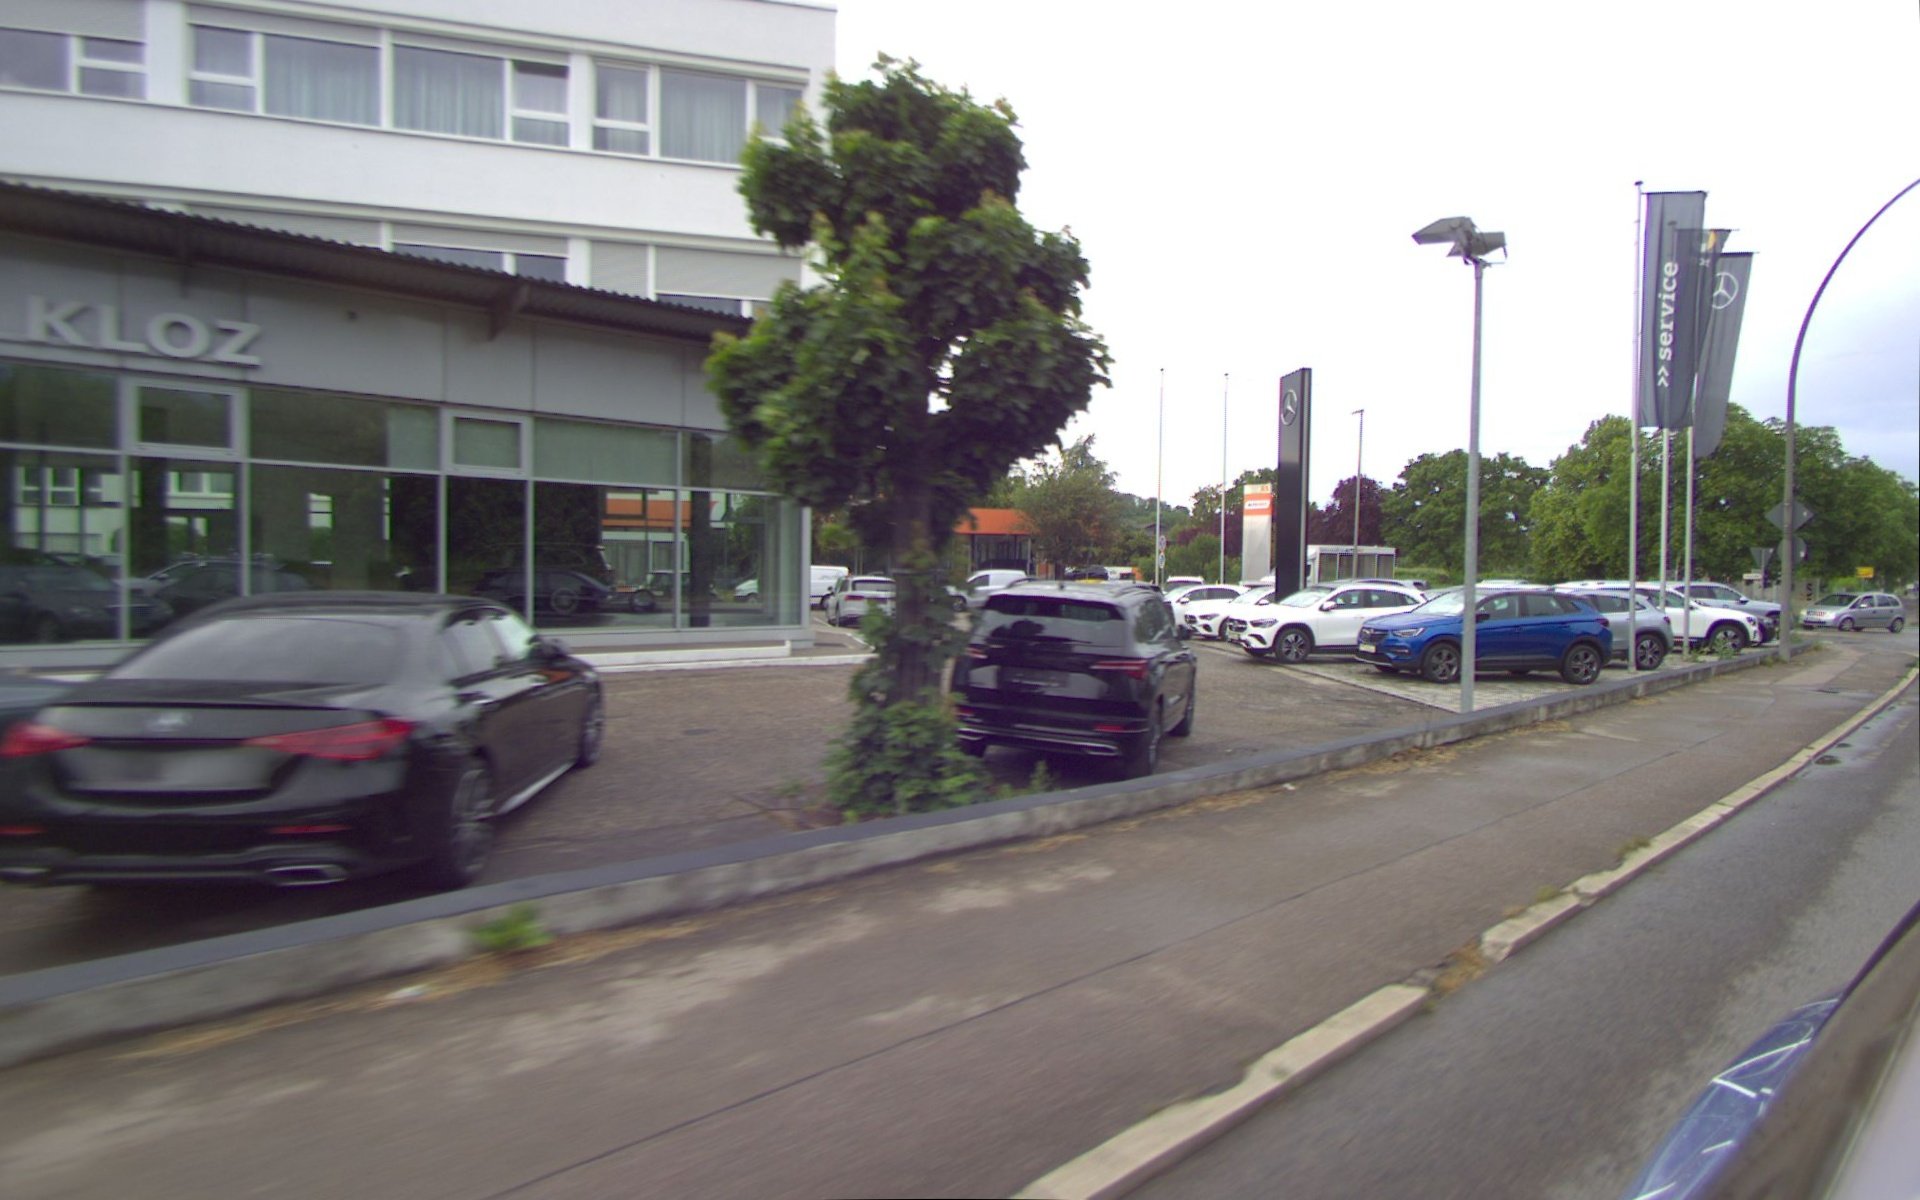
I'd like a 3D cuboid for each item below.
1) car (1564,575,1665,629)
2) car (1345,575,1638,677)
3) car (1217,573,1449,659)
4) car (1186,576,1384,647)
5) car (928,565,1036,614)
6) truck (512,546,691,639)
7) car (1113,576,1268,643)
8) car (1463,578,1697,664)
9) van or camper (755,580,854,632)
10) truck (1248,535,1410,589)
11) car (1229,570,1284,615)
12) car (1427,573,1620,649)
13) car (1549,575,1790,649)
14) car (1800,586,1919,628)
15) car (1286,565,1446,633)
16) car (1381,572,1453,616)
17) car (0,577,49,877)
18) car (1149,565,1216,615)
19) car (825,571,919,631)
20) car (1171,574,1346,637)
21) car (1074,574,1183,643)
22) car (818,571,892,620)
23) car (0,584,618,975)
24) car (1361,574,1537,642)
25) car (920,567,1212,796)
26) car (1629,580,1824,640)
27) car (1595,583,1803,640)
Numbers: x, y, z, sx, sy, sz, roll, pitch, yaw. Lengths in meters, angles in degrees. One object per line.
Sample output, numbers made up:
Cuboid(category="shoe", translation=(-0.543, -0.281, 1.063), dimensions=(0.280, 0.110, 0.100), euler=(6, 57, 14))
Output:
Cuboid(category="car", translation=(21.968, 0.031, 33.894), dimensions=(4.630, 1.694, 1.810), euler=(-1, 1, -43))
Cuboid(category="car", translation=(9.402, 0.434, 18.110), dimensions=(4.278, 1.652, 1.847), euler=(1, 3, -6))
Cuboid(category="car", translation=(7.582, 0.302, 20.712), dimensions=(4.092, 1.619, 1.736), euler=(0, 2, -11))
Cuboid(category="car", translation=(7.486, 0.241, 23.545), dimensions=(3.918, 1.564, 1.906), euler=(0, 1, -8))
Cuboid(category="car", translation=(0.944, -0.459, 44.686), dimensions=(4.357, 2.039, 1.836), euler=(-2, 0, -18))
Cuboid(category="truck", translation=(-14.310, -0.311, 40.867), dimensions=(6.511, 3.457, 2.576), euler=(-2, -1, -13))
Cuboid(category="car", translation=(6.597, 0.260, 29.187), dimensions=(3.906, 1.662, 1.774), euler=(-3, 0, -7))
Cuboid(category="car", translation=(12.611, 0.409, 20.731), dimensions=(3.738, 1.619, 1.734), euler=(1, 2, -5))
Cuboid(category="van or camper", translation=(-6.553, 0.225, 42.632), dimensions=(3.916, 2.066, 1.813), euler=(-1, 1, -16))
Cuboid(category="truck", translation=(19.854, -2.042, 54.410), dimensions=(8.298, 2.656, 2.794), euler=(-2, 0, -21))
Cuboid(category="car", translation=(10.534, -0.253, 36.043), dimensions=(1.748, 1.479, 3.979), euler=(1, 1, 16))
Cuboid(category="car", translation=(12.932, 0.231, 23.341), dimensions=(3.487, 1.619, 1.667), euler=(1, 2, -6))
Cuboid(category="car", translation=(17.142, 0.239, 24.707), dimensions=(4.359, 1.673, 1.920), euler=(1, 1, 12))
Cuboid(category="car", translation=(37.140, 0.263, 41.446), dimensions=(3.918, 1.565, 2.004), euler=(1, 2, -8))
Cuboid(category="car", translation=(11.774, -0.035, 29.478), dimensions=(3.919, 1.742, 1.681), euler=(-3, 0, -7))
Cuboid(category="car", translation=(16.801, -0.205, 37.054), dimensions=(2.056, 1.479, 4.717), euler=(2, 1, 28))
Cuboid(category="car", translation=(-5.872, 0.690, 3.576), dimensions=(1.861, 1.575, 4.002), euler=(-2, 0, -4))
Cuboid(category="car", translation=(7.483, -0.328, 33.818), dimensions=(1.750, 1.571, 3.427), euler=(1, 1, 20))
Cuboid(category="car", translation=(-2.484, -0.037, 27.601), dimensions=(1.958, 1.460, 4.420), euler=(1, 1, -13))
Cuboid(category="car", translation=(7.726, 0.135, 26.424), dimensions=(3.918, 1.564, 1.907), euler=(0, 1, -9))
Cuboid(category="car", translation=(4.041, 0.140, 24.824), dimensions=(1.745, 1.496, 3.567), euler=(1, 2, -5))
Cuboid(category="car", translation=(-3.573, -0.189, 33.843), dimensions=(1.958, 1.498, 4.009), euler=(1, 1, -13))
Cuboid(category="car", translation=(-3.492, 0.663, 6.175), dimensions=(1.895, 1.498, 4.450), euler=(0, 1, -8))
Cuboid(category="car", translation=(12.963, 0.175, 26.966), dimensions=(3.846, 1.470, 1.685), euler=(-2, 6, -4))
Cuboid(category="car", translation=(1.290, 0.556, 9.827), dimensions=(1.819, 1.628, 4.521), euler=(2, 1, 19))
Cuboid(category="car", translation=(22.628, 0.268, 30.001), dimensions=(4.281, 1.692, 1.967), euler=(0, 1, -1))
Cuboid(category="car", translation=(19.719, 0.268, 27.228), dimensions=(4.085, 1.411, 1.842), euler=(1, 1, 17))
